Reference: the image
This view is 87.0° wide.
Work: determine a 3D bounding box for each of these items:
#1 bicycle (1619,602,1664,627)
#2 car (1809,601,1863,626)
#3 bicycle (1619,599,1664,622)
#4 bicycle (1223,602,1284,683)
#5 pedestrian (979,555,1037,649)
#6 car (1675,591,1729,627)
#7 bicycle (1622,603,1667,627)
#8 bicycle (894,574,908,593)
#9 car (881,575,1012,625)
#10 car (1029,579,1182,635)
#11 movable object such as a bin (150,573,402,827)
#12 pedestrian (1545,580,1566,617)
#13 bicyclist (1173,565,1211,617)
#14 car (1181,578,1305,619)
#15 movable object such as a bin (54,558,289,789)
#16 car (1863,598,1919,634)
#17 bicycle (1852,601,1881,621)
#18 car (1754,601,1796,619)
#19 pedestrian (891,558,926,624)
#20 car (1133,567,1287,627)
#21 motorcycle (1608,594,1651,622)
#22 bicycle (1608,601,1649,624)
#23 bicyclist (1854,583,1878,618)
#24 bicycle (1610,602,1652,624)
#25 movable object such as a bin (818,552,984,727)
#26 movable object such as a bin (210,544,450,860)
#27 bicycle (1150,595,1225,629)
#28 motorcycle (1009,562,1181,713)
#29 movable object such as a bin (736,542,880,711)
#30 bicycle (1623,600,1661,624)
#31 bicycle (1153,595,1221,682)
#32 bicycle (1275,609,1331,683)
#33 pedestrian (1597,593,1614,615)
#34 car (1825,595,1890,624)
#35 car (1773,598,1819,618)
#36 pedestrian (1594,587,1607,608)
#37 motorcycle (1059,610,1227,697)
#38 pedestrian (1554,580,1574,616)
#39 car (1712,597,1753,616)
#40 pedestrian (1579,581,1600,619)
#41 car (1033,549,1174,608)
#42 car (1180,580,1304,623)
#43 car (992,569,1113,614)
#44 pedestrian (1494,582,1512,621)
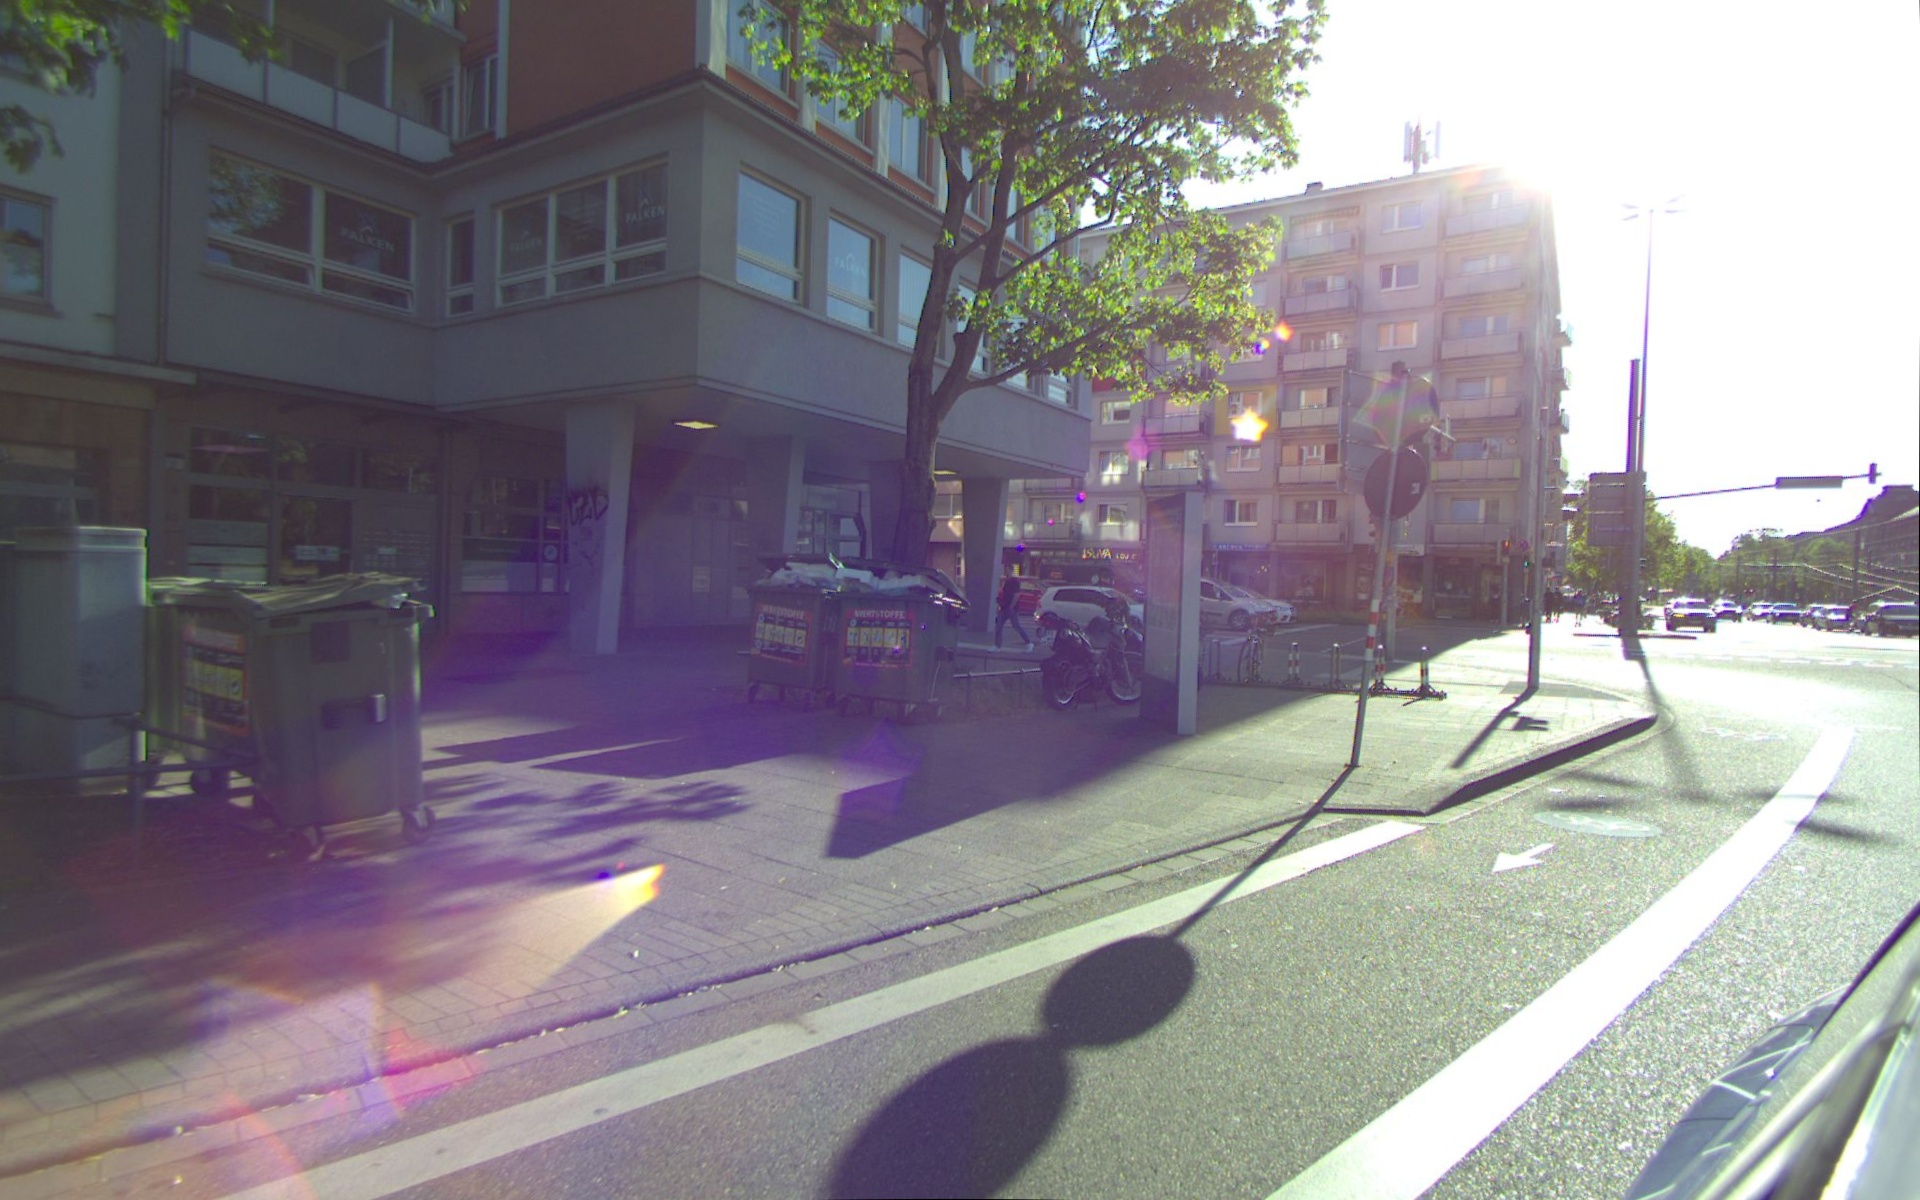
[{"bbox_3d":[32.911,0.673,48.875,1.741,1.113,0.395,3,2,31],"label":"bicycle"},{"bbox_3d":[54.026,0.831,62.498,1.878,1.447,4.086,0,1,31],"label":"car"},{"bbox_3d":[32.676,0.507,48.534,1.742,1.090,0.402,0,0,31],"label":"bicycle"},{"bbox_3d":[4.543,0.611,15.601,0.472,1.131,2.099,0,1,28],"label":"bicycle"},{"bbox_3d":[0.986,0.030,20.761,0.874,1.867,0.828,0,0,-36],"label":"pedestrian"},{"bbox_3d":[38.114,0.437,52.047,1.889,1.708,4.071,2,1,32],"label":"car"},{"bbox_3d":[32.361,0.717,47.883,1.690,1.023,0.406,4,2,30],"label":"bicycle"},{"bbox_3d":[-3.666,-1.044,63.330,0.675,1.004,1.921,-1,5,3],"label":"bicycle"},{"bbox_3d":[-0.469,-0.045,33.034,4.129,1.444,1.560,2,3,31],"label":"car"},{"bbox_3d":[4.308,0.162,30.028,4.129,1.521,1.826,0,2,31],"label":"car"},{"bbox_3d":[-4.183,0.531,6.197,1.168,1.373,0.916,0,1,34],"label":"movable object such as a bin"},{"bbox_3d":[30.964,-0.082,52.620,0.859,1.858,1.197,2,1,31],"label":"pedestrian"},{"bbox_3d":[7.190,-0.275,31.389,0.928,1.580,0.931,0,0,30],"label":"bicyclist"},{"bbox_3d":[10.747,-0.081,38.548,4.146,1.487,1.944,1,1,43],"label":"car"},{"bbox_3d":[-5.382,0.439,6.915,1.208,1.408,0.948,0,1,34],"label":"movable object such as a bin"},{"bbox_3d":[44.043,0.709,47.279,1.984,1.556,4.308,0,1,31],"label":"car"},{"bbox_3d":[46.222,0.546,51.628,0.625,0.951,1.889,0,1,26],"label":"bicycle"},{"bbox_3d":[63.794,0.775,79.296,1.973,1.308,4.278,2,1,31],"label":"car"},{"bbox_3d":[-1.418,-0.249,27.893,0.842,1.801,0.898,0,0,5],"label":"pedestrian"},{"bbox_3d":[8.170,-0.127,33.238,4.567,1.873,1.925,1,1,32],"label":"car"},{"bbox_3d":[38.142,0.429,57.651,1.868,1.446,0.880,4,2,28],"label":"motorcycle"},{"bbox_3d":[36.989,0.682,56.008,1.807,1.189,0.696,2,2,28],"label":"bicycle"},{"bbox_3d":[46.210,0.031,51.612,0.697,1.751,0.846,0,0,27],"label":"bicyclist"},{"bbox_3d":[36.478,0.696,55.019,1.807,1.073,0.411,3,2,28],"label":"bicycle"},{"bbox_3d":[-0.602,0.348,10.356,1.374,1.660,0.997,1,1,32],"label":"movable object such as a bin"},{"bbox_3d":[-3.322,0.441,5.301,0.905,1.409,1.283,0,1,-40],"label":"movable object such as a bin"},{"bbox_3d":[7.079,0.351,31.461,2.131,1.013,0.852,0,1,31],"label":"bicycle"},{"bbox_3d":[1.620,0.384,11.687,0.801,1.559,2.510,1,0,38],"label":"motorcycle"},{"bbox_3d":[-1.671,0.246,11.145,1.250,1.729,0.935,2,2,32],"label":"movable object such as a bin"},{"bbox_3d":[31.695,0.556,47.060,1.424,1.023,0.406,4,2,34],"label":"bicycle"},{"bbox_3d":[3.581,0.561,15.881,0.529,1.259,1.828,0,1,30],"label":"bicycle"},{"bbox_3d":[5.236,0.656,15.385,0.472,0.997,2.099,0,1,28],"label":"bicycle"},{"bbox_3d":[55.898,0.349,87.617,0.855,1.907,1.217,2,1,15],"label":"pedestrian"},{"bbox_3d":[49.582,0.491,55.985,1.984,1.447,4.087,0,1,31],"label":"car"},{"bbox_3d":[58.778,0.548,71.214,1.845,1.308,4.049,2,1,31],"label":"car"},{"bbox_3d":[52.175,-0.198,82.421,0.771,1.671,0.661,2,1,44],"label":"pedestrian"},{"bbox_3d":[2.424,0.676,13.547,2.088,1.034,0.753,1,0,34],"label":"motorcycle"},{"bbox_3d":[32.676,-0.129,54.738,0.788,1.909,0.862,2,1,39],"label":"pedestrian"},{"bbox_3d":[57.913,0.444,75.919,1.973,1.308,4.344,2,1,31],"label":"car"},{"bbox_3d":[30.602,-0.015,49.184,0.786,1.799,0.865,2,1,31],"label":"pedestrian"},{"bbox_3d":[5.877,-0.909,41.702,5.225,2.226,2.346,3,2,37],"label":"car"},{"bbox_3d":[10.034,0.015,36.090,3.967,1.458,1.829,0,1,31],"label":"car"},{"bbox_3d":[3.581,-0.341,39.463,4.357,1.554,1.803,3,2,36],"label":"car"},{"bbox_3d":[25.526,0.057,47.587,0.566,1.795,0.655,2,1,39],"label":"pedestrian"}]
